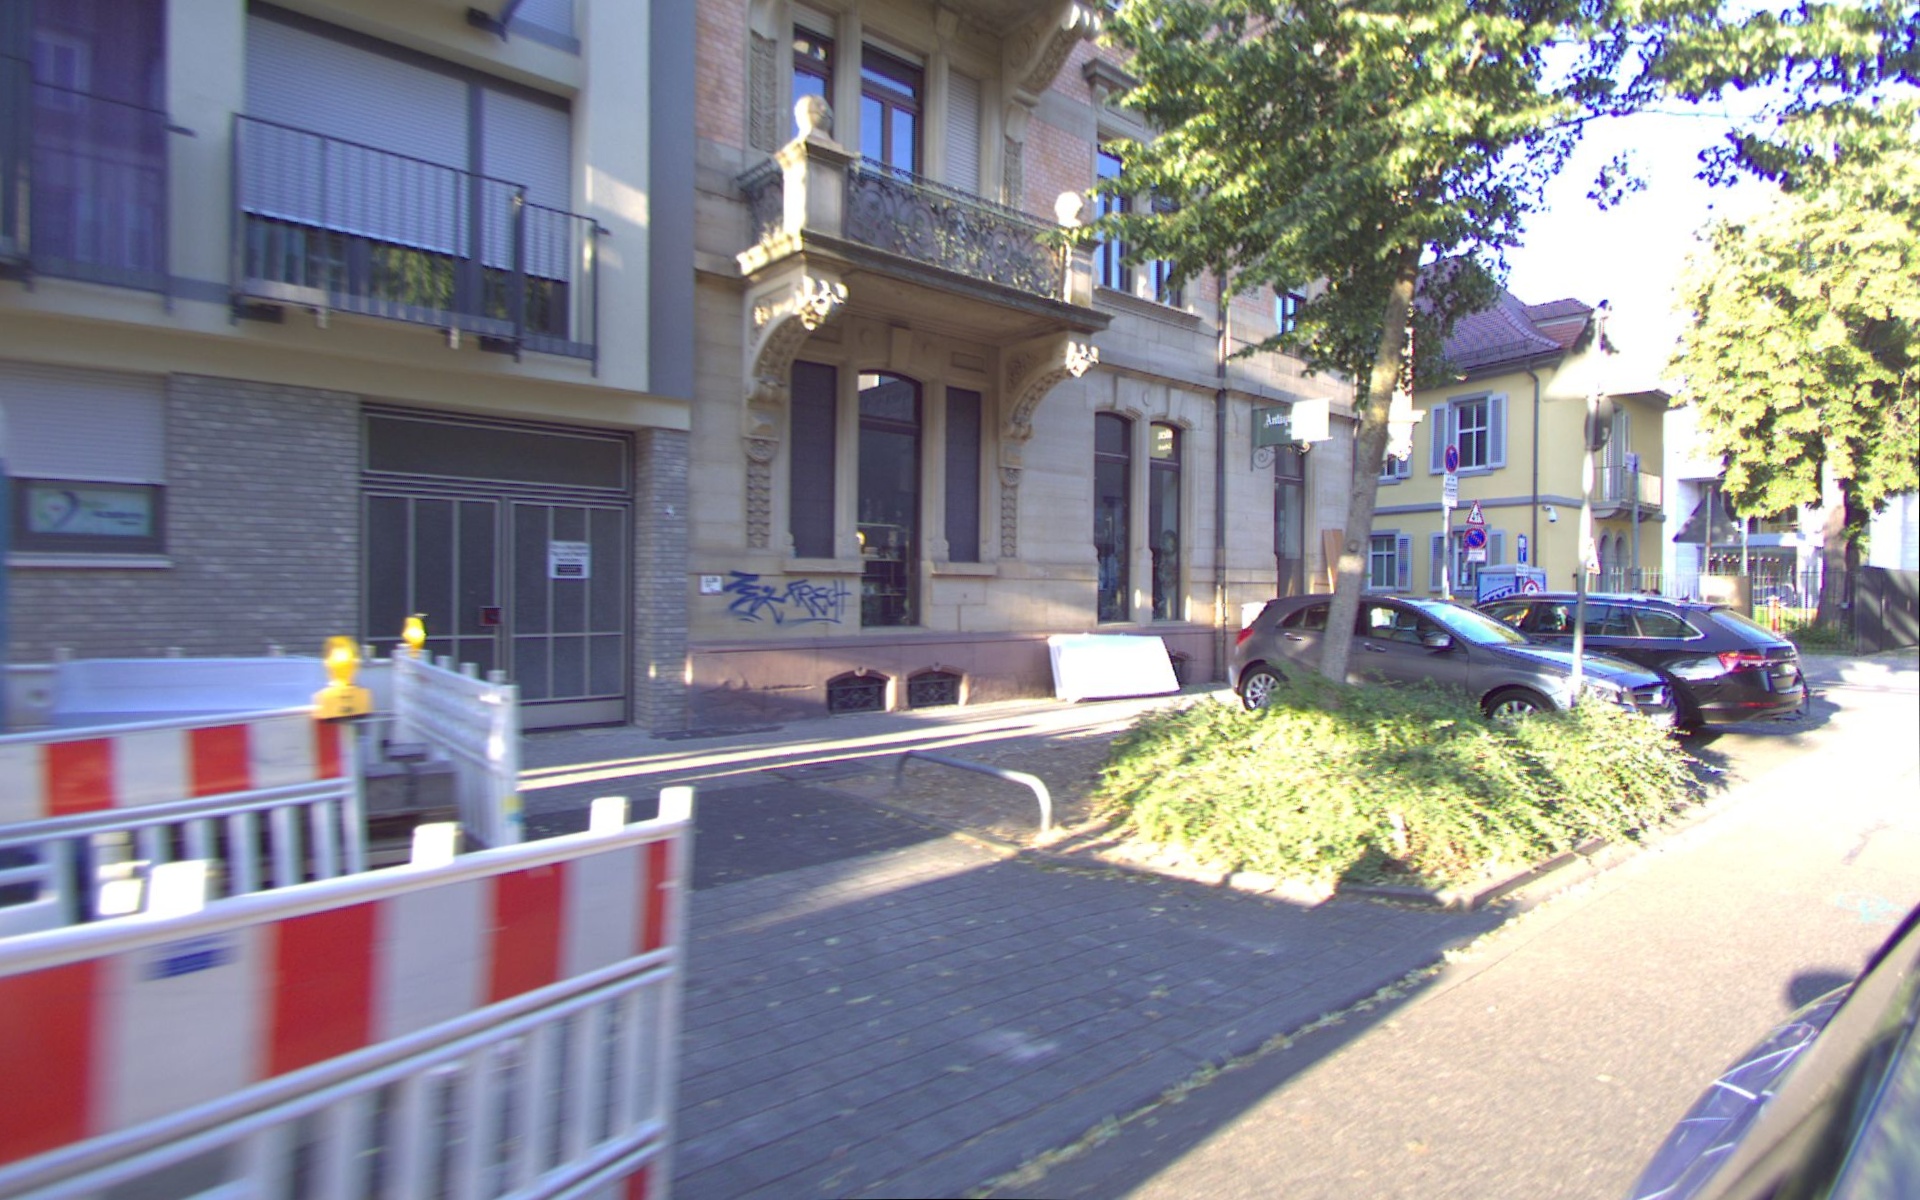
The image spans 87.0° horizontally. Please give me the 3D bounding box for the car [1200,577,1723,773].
[{"bbox_3d":[4.900,0.555,10.545,1.833,1.497,4.540,-1,2,-37],"label":"car"}]

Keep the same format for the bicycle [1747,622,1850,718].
[{"bbox_3d":[10.354,0.828,12.477,1.798,1.060,0.571,0,1,-38],"label":"bicycle"}]

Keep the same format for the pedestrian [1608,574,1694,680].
[{"bbox_3d":[11.197,0.422,16.425,0.944,1.679,0.638,0,0,8],"label":"pedestrian"}]

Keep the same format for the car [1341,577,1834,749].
[{"bbox_3d":[7.072,0.544,11.858,1.877,1.529,4.537,0,2,-39],"label":"car"}]

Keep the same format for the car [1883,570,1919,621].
[{"bbox_3d":[35.757,-0.178,37.231,3.986,1.757,1.711,-1,3,-34],"label":"car"}]

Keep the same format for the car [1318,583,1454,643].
[{"bbox_3d":[11.777,0.325,28.137,1.514,1.539,3.225,2,0,-29],"label":"car"}]

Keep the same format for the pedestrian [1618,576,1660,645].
[{"bbox_3d":[16.157,0.232,24.074,0.459,1.614,0.674,0,1,-27],"label":"pedestrian"}]
